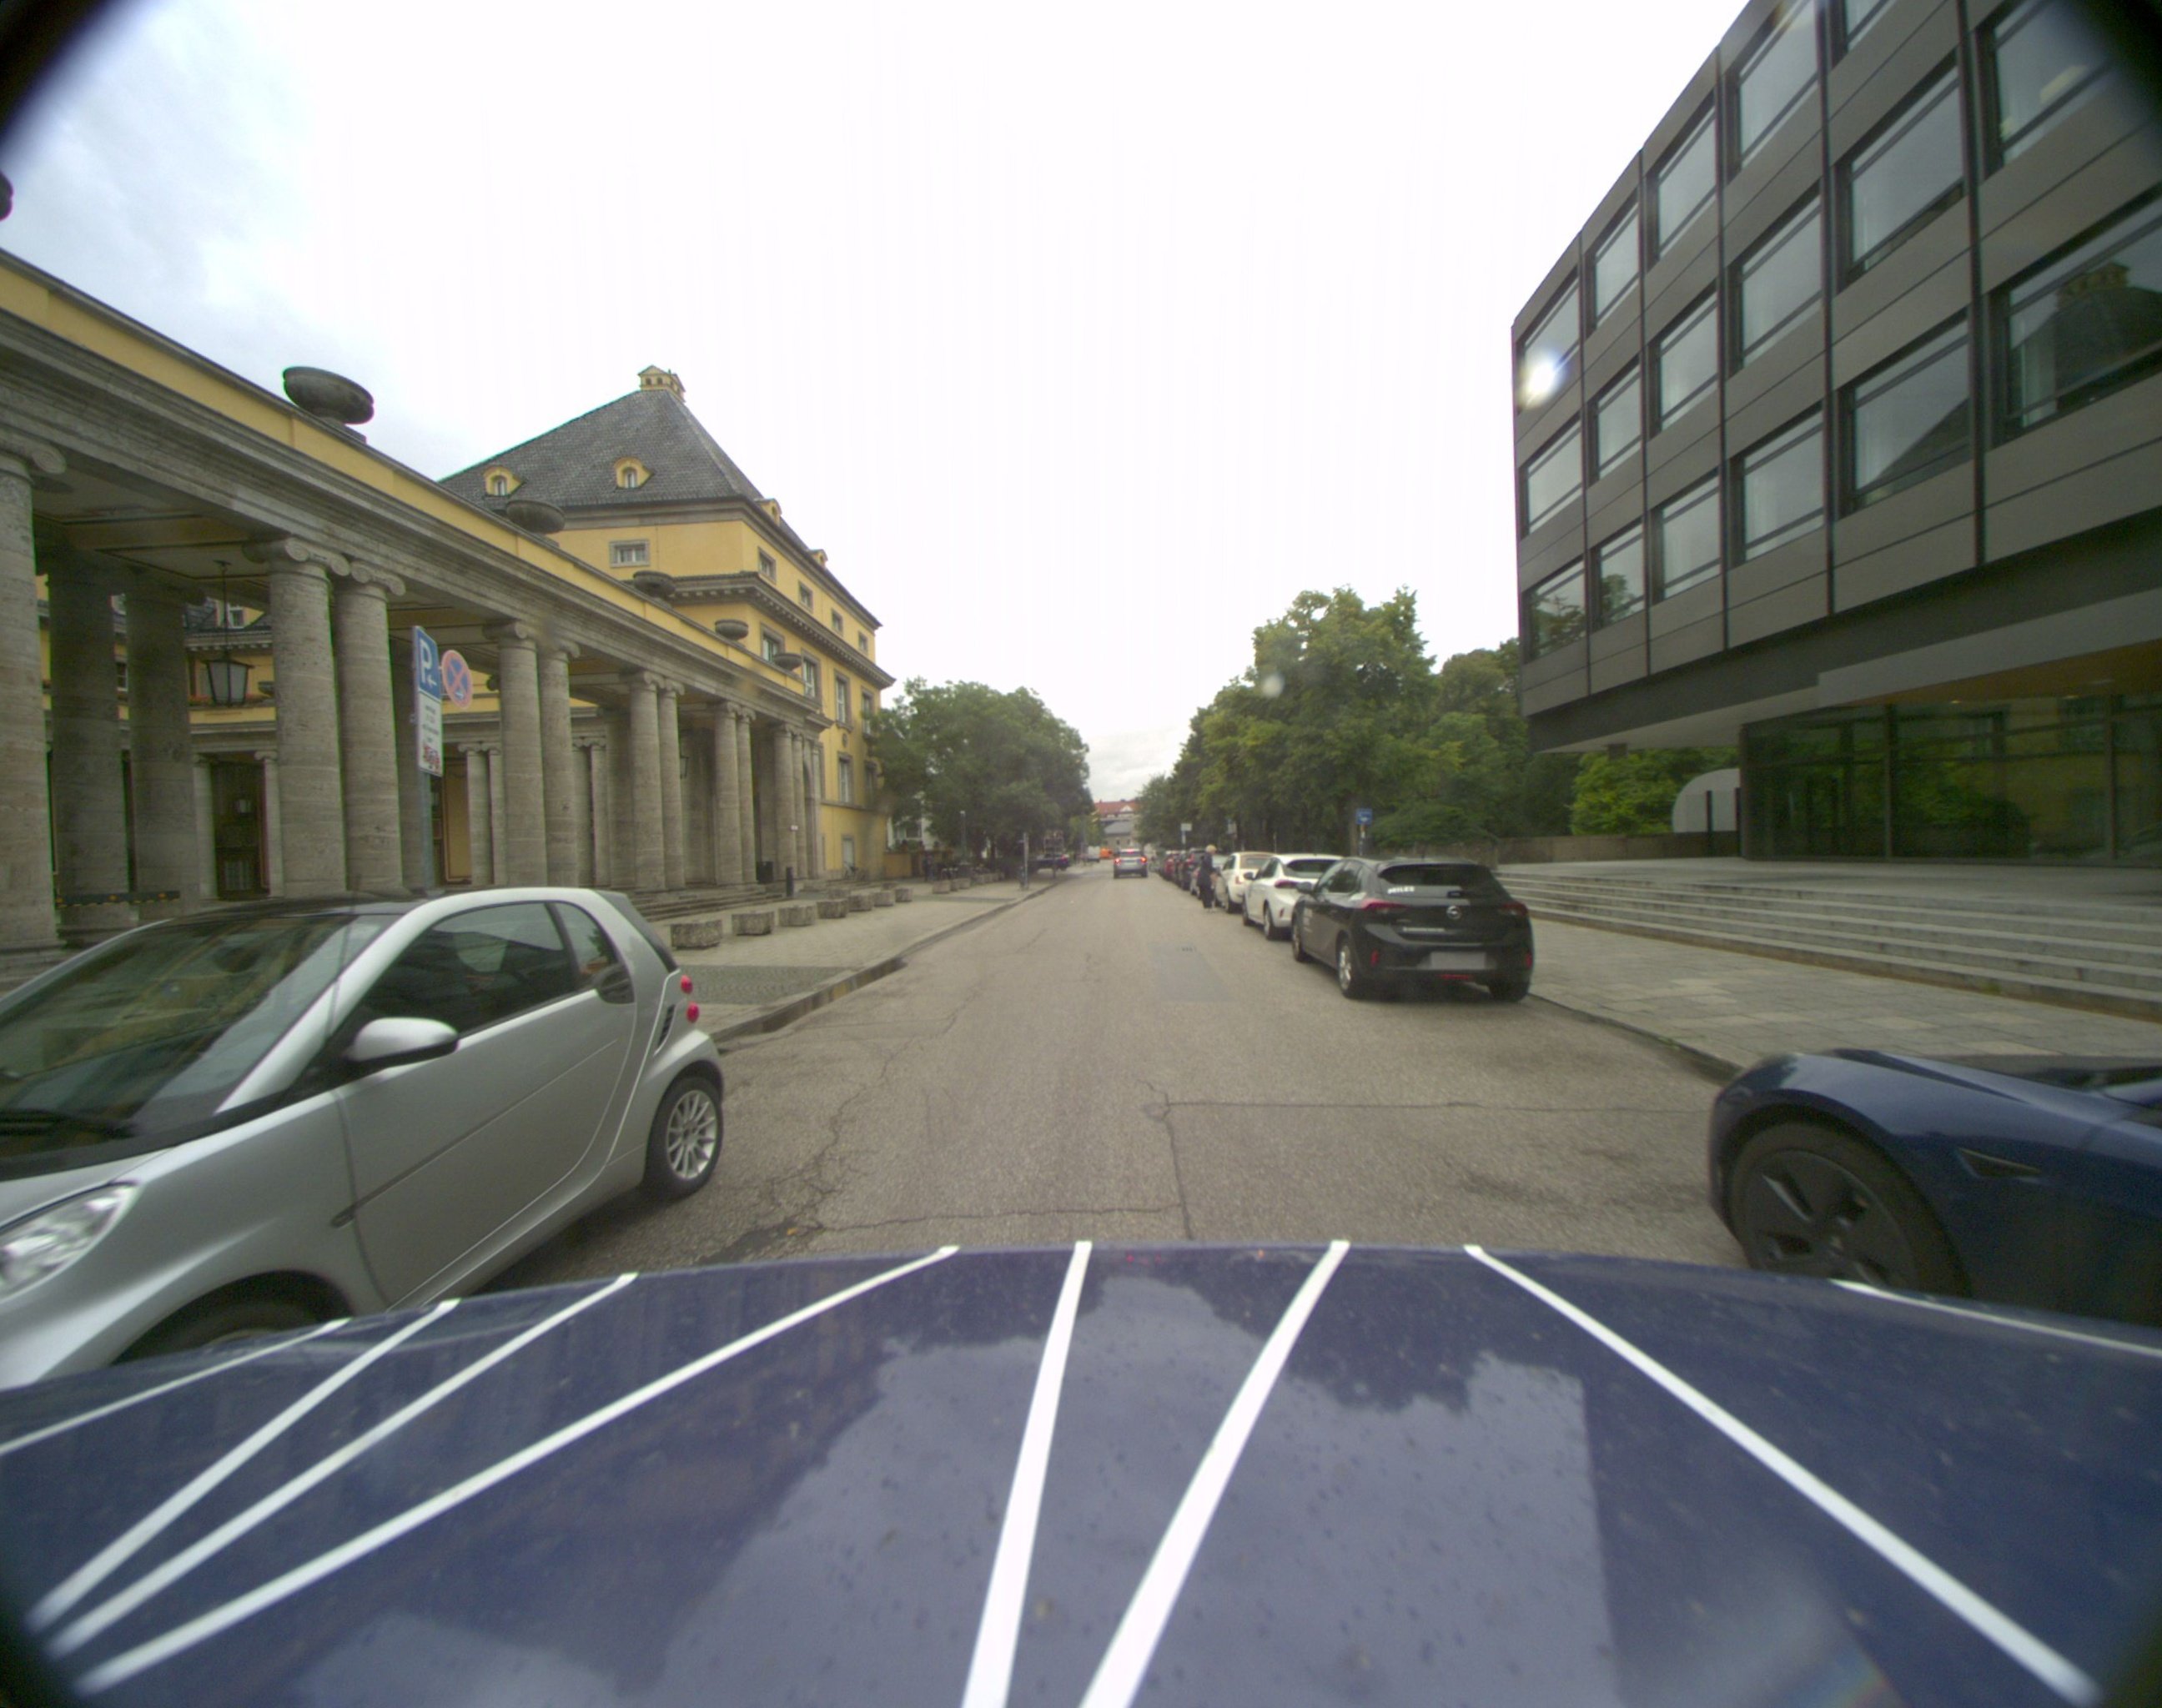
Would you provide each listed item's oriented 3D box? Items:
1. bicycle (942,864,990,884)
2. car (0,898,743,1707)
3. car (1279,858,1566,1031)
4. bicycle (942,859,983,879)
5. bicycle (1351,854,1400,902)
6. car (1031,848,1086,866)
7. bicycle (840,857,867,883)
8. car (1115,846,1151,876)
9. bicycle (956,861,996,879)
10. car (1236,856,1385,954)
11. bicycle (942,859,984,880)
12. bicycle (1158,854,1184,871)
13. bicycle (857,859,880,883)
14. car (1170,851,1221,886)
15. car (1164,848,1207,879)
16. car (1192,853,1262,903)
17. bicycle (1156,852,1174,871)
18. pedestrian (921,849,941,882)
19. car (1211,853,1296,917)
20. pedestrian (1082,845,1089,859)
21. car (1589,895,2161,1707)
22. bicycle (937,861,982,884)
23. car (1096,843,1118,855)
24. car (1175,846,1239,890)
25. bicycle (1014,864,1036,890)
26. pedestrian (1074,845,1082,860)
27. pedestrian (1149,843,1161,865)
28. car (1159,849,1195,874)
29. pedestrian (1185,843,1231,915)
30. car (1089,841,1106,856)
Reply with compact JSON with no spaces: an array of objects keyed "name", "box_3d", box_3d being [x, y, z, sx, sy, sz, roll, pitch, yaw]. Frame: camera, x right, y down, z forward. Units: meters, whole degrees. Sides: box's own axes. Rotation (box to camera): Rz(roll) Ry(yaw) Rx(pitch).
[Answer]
[{"name":"bicycle","box_3d":[-5.882,0.998,38.861,2.369,1.000,0.677,0,1,-5]},{"name":"car","box_3d":[-2.754,1.072,2.620,1.609,1.537,2.934,-4,0,4]},{"name":"car","box_3d":[3.575,0.813,8.881,1.743,1.452,4.238,0,1,5]},{"name":"bicycle","box_3d":[-6.665,0.858,42.790,2.264,1.018,0.601,3,1,-8]},{"name":"bicycle","box_3d":[7.693,0.611,19.903,0.644,1.157,1.527,-4,1,2]},{"name":"car","box_3d":[-2.140,0.238,72.087,4.898,1.672,1.970,0,1,31]},{"name":"bicycle","box_3d":[-12.222,0.855,40.898,0.601,1.299,2.264,-1,1,3]},{"name":"car","box_3d":[3.234,0.389,46.771,2.029,1.679,4.678,-1,0,5]},{"name":"bicycle","box_3d":[-6.205,0.938,44.924,2.261,1.005,0.602,0,0,6]},{"name":"car","box_3d":[3.979,0.797,13.903,1.685,1.432,4.280,1,1,4]},{"name":"bicycle","box_3d":[-6.495,0.853,41.866,2.264,1.053,0.601,3,1,-8]},{"name":"bicycle","box_3d":[6.255,0.584,52.718,1.700,1.101,0.598,-3,1,-5]},{"name":"bicycle","box_3d":[-12.079,0.943,43.254,0.601,1.299,2.165,-1,1,3]},{"name":"car","box_3d":[5.298,0.630,35.562,1.998,1.452,4.648,-1,0,4]},{"name":"car","box_3d":[5.591,0.488,40.942,1.998,1.535,4.365,-1,0,4]},{"name":"car","box_3d":[4.614,0.710,24.563,1.762,1.392,4.218,1,1,5]},{"name":"bicycle","box_3d":[5.984,0.507,54.261,0.574,1.275,1.421,-3,1,36]},{"name":"pedestrian","box_3d":[-7.999,0.603,40.615,0.790,1.736,1.056,-1,1,3]},{"name":"car","box_3d":[4.316,0.717,19.463,1.547,1.462,3.553,0,1,3]},{"name":"pedestrian","box_3d":[0.601,-0.303,100.944,0.777,1.855,0.997,-5,1,-3]},{"name":"car","box_3d":[2.958,0.926,0.604,1.927,1.431,4.918,0,1,2]},{"name":"bicycle","box_3d":[-6.412,0.956,40.116,2.264,1.088,0.601,3,1,-8]},{"name":"car","box_3d":[6.361,-1.172,185.846,2.577,2.521,4.975,-6,2,-43]},{"name":"car","box_3d":[4.967,0.503,30.480,1.998,1.574,4.522,-1,0,3]},{"name":"bicycle","box_3d":[-2.549,1.048,34.707,0.762,1.094,2.264,0,1,3]},{"name":"pedestrian","box_3d":[-0.395,-0.218,101.025,0.777,1.855,0.997,-5,1,-5]},{"name":"pedestrian","box_3d":[6.142,0.000,62.816,0.798,1.722,0.660,-5,1,2]},{"name":"car","box_3d":[5.980,0.419,47.709,1.998,1.452,4.365,-1,0,4]},{"name":"pedestrian","box_3d":[3.139,0.606,18.798,0.894,1.742,0.689,0,1,-26]},{"name":"car","box_3d":[2.617,-0.897,123.080,2.236,2.289,4.729,-5,1,-2]}]
